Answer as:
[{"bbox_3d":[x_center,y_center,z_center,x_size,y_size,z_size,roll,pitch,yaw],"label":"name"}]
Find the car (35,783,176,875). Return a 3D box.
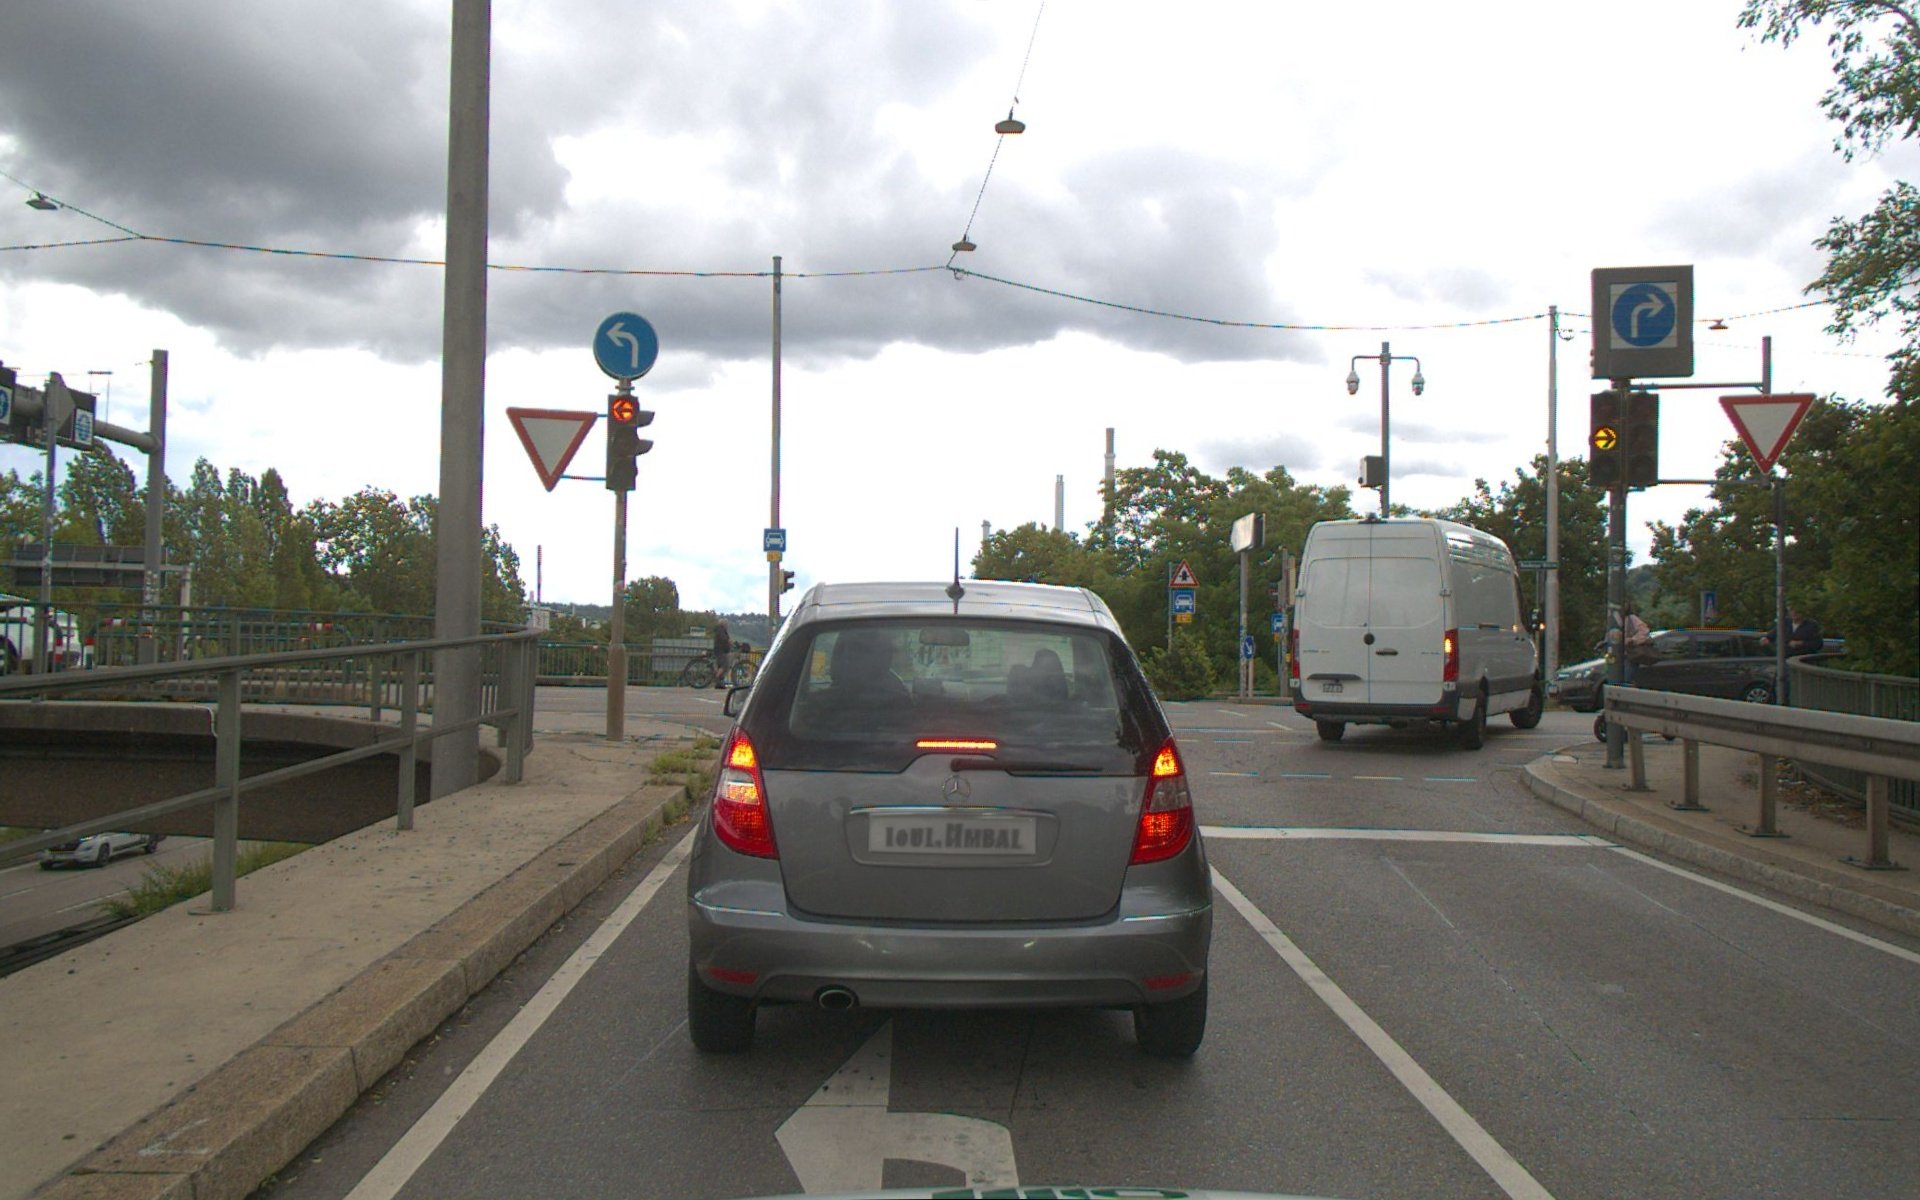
[{"bbox_3d":[-30.273,8.055,58.878,2.042,2.579,6.323,0,-2,-4],"label":"car"}]

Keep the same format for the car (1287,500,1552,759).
[{"bbox_3d":[6.196,0.291,21.573,2.069,2.832,6.772,0,1,27],"label":"car"}]

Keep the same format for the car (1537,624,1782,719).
[{"bbox_3d":[13.285,1.331,31.577,3.904,1.694,1.813,0,0,2],"label":"car"}]

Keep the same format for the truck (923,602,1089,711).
[{"bbox_3d":[1.493,1.932,61.537,2.747,3.580,10.191,0,1,-19],"label":"truck"}]

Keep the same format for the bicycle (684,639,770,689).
[{"bbox_3d":[-5.630,1.534,39.933,1.996,1.144,0.927,0,0,-12],"label":"bicycle"}]

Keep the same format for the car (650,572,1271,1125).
[{"bbox_3d":[0.046,0.701,6.869,1.819,1.616,4.001,0,1,1],"label":"car"}]

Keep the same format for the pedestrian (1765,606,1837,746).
[{"bbox_3d":[10.209,0.900,20.095,0.766,1.647,0.676,0,0,27],"label":"pedestrian"}]

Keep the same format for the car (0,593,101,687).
[{"bbox_3d":[-19.178,0.740,31.786,4.303,1.747,1.936,0,0,-3],"label":"car"}]

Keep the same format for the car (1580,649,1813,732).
[{"bbox_3d":[18.007,2.178,40.676,5.116,1.802,2.005,0,0,22],"label":"car"}]

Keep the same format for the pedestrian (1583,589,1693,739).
[{"bbox_3d":[7.898,0.750,19.316,0.816,1.707,0.978,0,-3,-4],"label":"pedestrian"}]

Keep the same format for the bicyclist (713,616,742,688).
[{"bbox_3d":[-5.618,1.243,39.947,0.641,1.703,0.867,0,0,-11],"label":"bicyclist"}]
